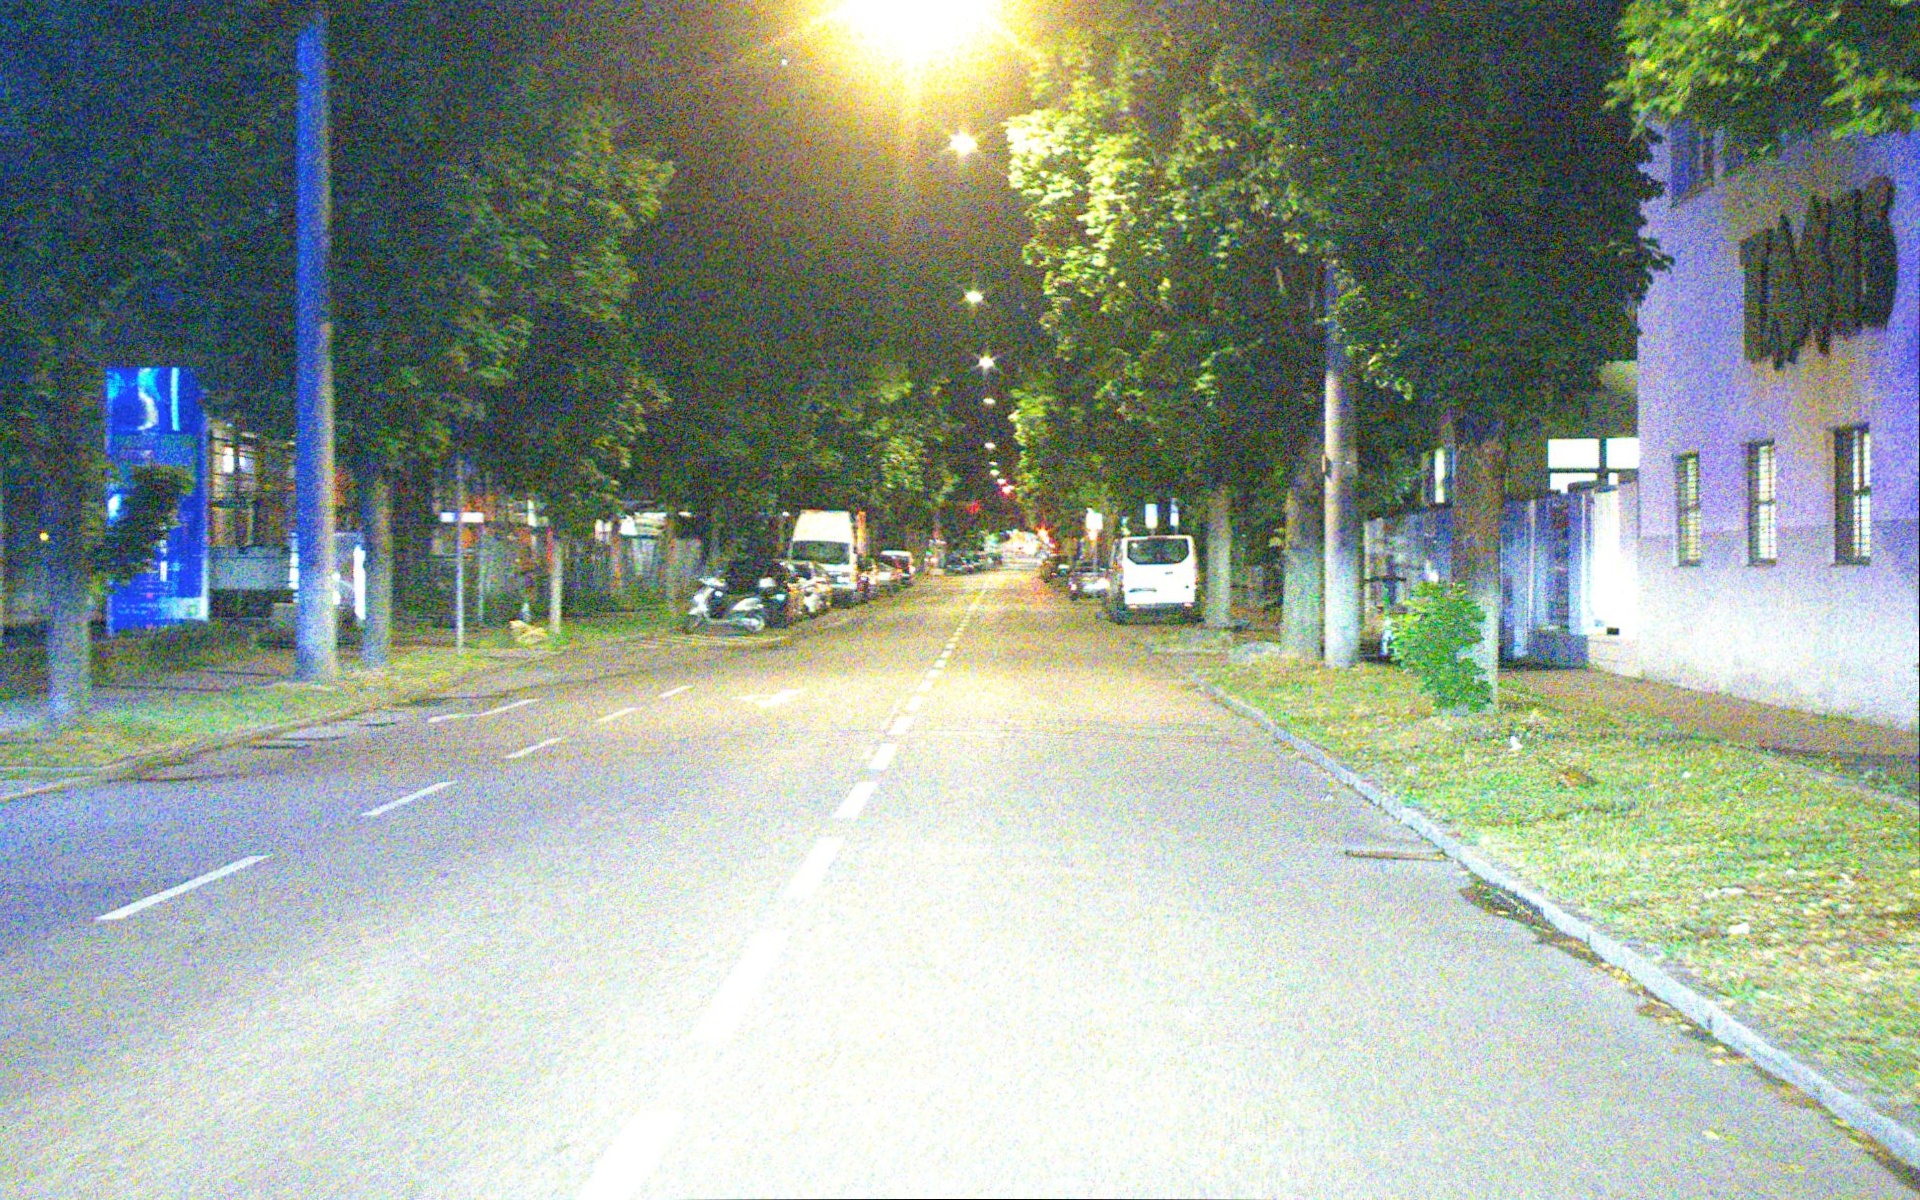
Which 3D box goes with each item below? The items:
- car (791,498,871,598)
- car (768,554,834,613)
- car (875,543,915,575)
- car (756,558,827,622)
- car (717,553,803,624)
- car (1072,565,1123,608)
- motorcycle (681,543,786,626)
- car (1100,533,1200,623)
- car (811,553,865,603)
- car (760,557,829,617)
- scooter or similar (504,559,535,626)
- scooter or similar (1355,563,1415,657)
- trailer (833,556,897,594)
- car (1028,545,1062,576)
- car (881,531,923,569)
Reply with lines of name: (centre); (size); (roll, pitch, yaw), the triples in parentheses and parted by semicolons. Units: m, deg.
car: (-3.917, -1.579, 104.992); (2.179, 2.899, 4.910); (2, 1, 0)
car: (-4.292, -0.459, 93.269); (1.645, 1.499, 3.861); (2, 1, -1)
car: (-3.175, -2.015, 168.496); (1.700, 1.428, 3.828); (4, 1, 2)
car: (-4.064, -0.256, 83.294); (1.444, 1.425, 3.904); (3, 1, 0)
car: (-4.453, -0.279, 77.081); (1.642, 1.499, 3.904); (2, 1, 0)
car: (4.851, -0.496, 120.920); (1.668, 1.424, 4.147); (-2, 1, 3)
motorcycle: (-4.461, -0.305, 67.649); (1.901, 1.544, 0.639); (2, 0, -18)
car: (4.326, -0.528, 78.709); (1.950, 1.957, 4.604); (1, 1, -1)
car: (-4.092, -0.760, 115.909); (1.742, 1.601, 4.298); (1, 1, -1)
car: (-4.216, -0.356, 88.132); (1.547, 1.450, 3.368); (2, 1, 0)
scooter or similar: (-7.952, -0.142, 62.077); (0.367, 1.200, 1.427); (0, 0, 1)
scooter or similar: (5.645, 0.120, 45.738); (0.547, 1.199, 1.911); (2, 0, 1)
trailer: (-3.687, -0.979, 134.420); (2.110, 1.330, 5.434); (3, 1, 2)
car: (4.757, -2.205, 191.688); (1.853, 1.648, 4.209); (1, 1, 1)
car: (-2.951, -2.539, 174.846); (1.822, 1.805, 4.210); (4, 1, 2)
